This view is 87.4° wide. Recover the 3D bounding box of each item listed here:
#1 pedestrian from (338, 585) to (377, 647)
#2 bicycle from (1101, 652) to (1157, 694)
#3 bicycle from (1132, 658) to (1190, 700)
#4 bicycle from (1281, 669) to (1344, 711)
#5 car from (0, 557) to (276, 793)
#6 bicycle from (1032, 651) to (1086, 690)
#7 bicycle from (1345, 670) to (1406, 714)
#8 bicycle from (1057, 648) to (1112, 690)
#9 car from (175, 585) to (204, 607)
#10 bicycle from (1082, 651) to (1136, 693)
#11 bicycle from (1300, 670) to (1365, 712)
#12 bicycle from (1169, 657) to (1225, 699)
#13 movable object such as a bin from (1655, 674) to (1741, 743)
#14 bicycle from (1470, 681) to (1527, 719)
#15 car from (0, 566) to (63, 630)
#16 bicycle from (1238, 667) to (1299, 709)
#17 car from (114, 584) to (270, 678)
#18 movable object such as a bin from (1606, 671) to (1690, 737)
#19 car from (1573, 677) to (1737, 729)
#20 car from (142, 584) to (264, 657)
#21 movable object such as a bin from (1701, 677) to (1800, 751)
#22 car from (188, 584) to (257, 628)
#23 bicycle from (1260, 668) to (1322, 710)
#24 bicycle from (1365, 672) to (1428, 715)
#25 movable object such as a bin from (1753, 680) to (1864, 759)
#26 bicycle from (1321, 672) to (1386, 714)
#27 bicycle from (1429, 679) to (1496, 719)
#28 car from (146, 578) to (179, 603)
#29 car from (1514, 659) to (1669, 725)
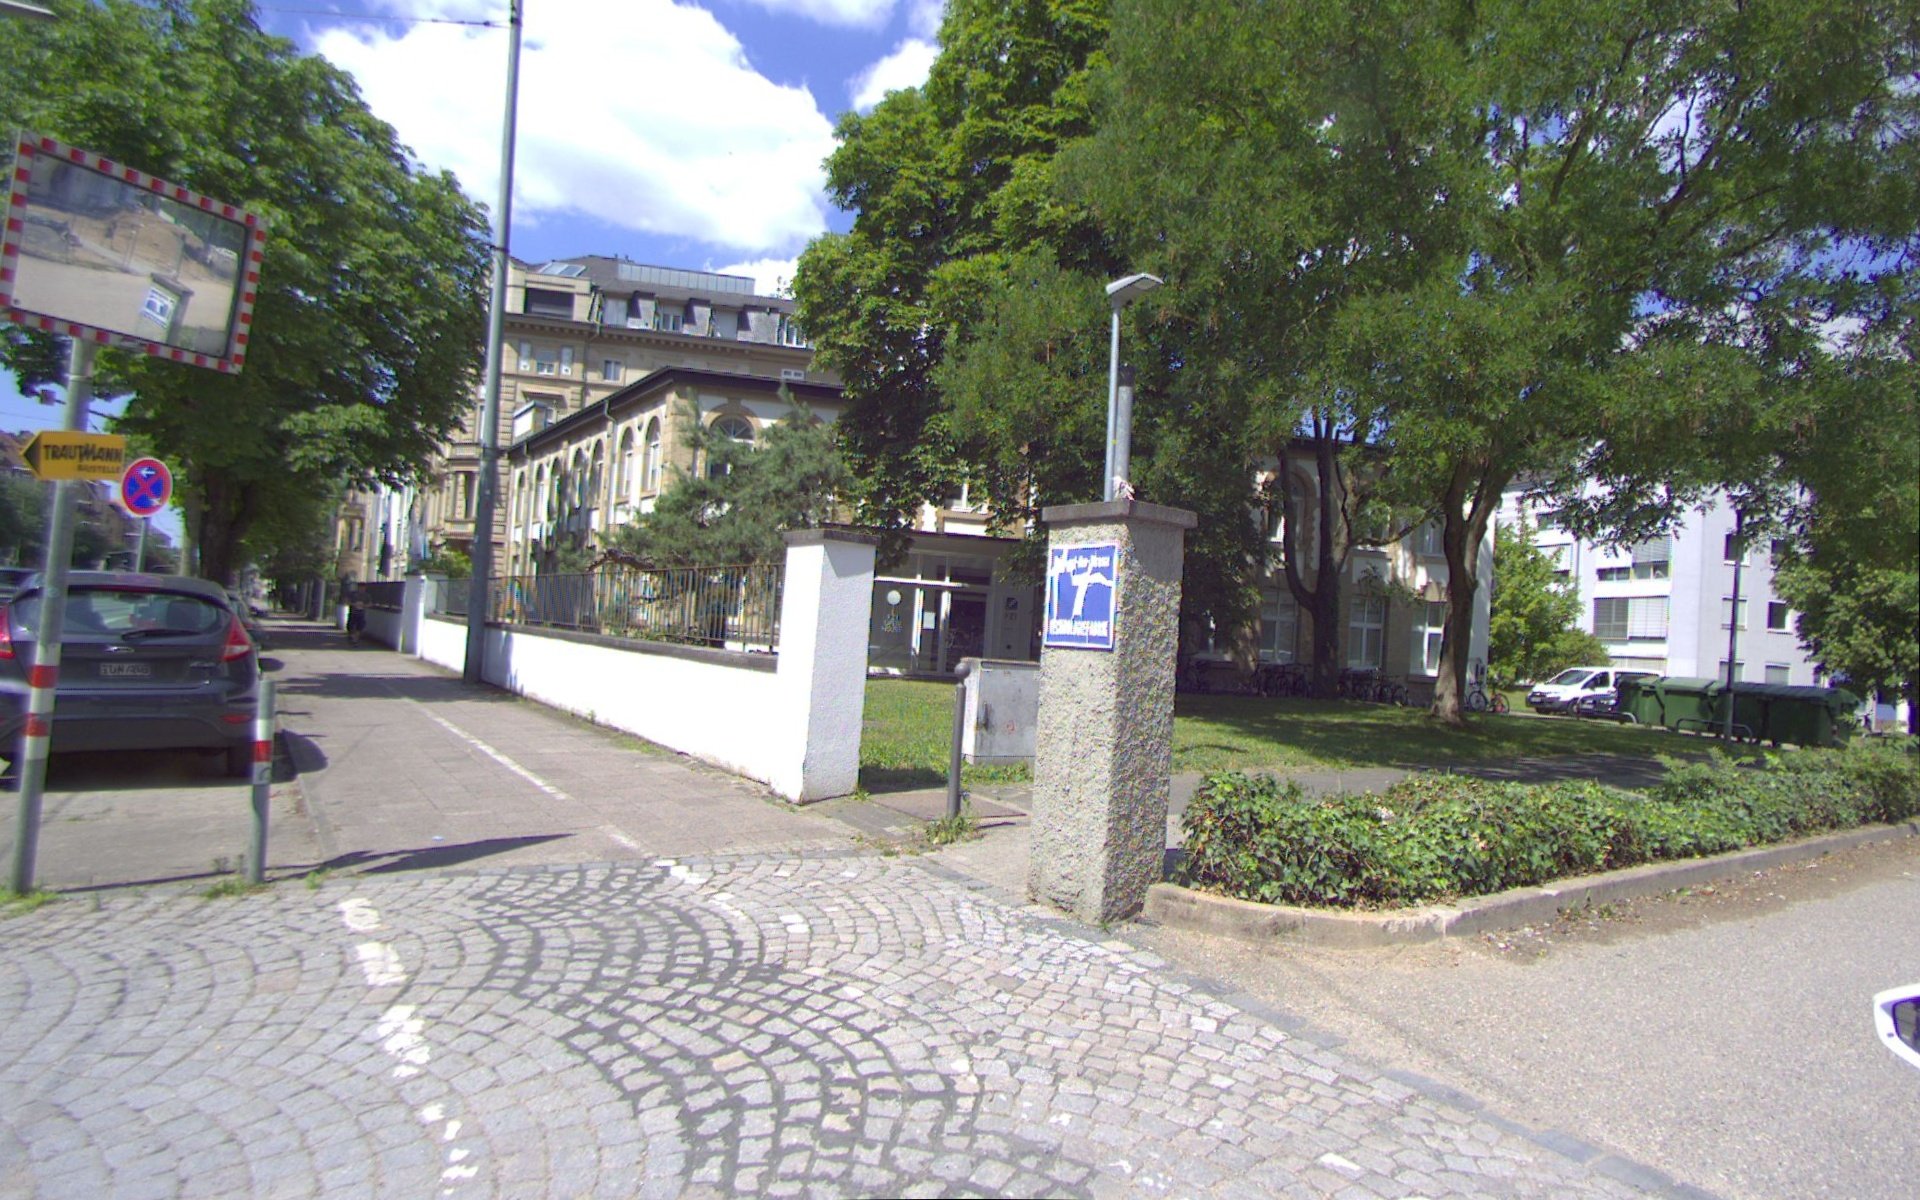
[{"bbox_3d":[-15.966,0.412,26.612,0.691,1.588,0.736,5,-2,-38],"label":"pedestrian"},{"bbox_3d":[4.711,2.021,28.123,0.597,1.024,2.252,4,-2,-16],"label":"bicycle"},{"bbox_3d":[5.628,2.203,28.239,0.597,1.024,2.252,4,-2,-16],"label":"bicycle"},{"bbox_3d":[10.115,2.568,28.911,0.597,1.024,2.255,4,-2,-11],"label":"bicycle"},{"bbox_3d":[-6.678,0.478,8.099,1.576,1.476,3.683,2,-1,-39],"label":"car"},{"bbox_3d":[2.693,1.900,27.493,0.645,0.901,2.252,4,-2,-16],"label":"bicycle"},{"bbox_3d":[12.114,2.675,29.359,0.596,1.096,2.258,4,-2,-6],"label":"bicycle"},{"bbox_3d":[3.434,1.894,27.864,0.622,1.024,2.252,4,-2,-16],"label":"bicycle"},{"bbox_3d":[-67.109,-0.363,87.536,1.747,1.741,3.960,5,-3,-35],"label":"car"},{"bbox_3d":[4.109,1.974,27.878,0.561,1.024,2.252,4,-2,-16],"label":"bicycle"},{"bbox_3d":[10.752,2.618,29.071,0.597,1.024,2.255,4,-2,-11],"label":"bicycle"},{"bbox_3d":[6.659,2.185,28.336,0.597,1.024,2.255,4,-2,-11],"label":"bicycle"},{"bbox_3d":[17.614,2.576,24.009,1.028,1.498,1.260,4,-2,-8],"label":"movable object such as a bin"},{"bbox_3d":[16.054,2.960,29.993,0.602,0.971,1.728,4,-2,-6],"label":"bicycle"},{"bbox_3d":[-27.101,-0.079,28.763,1.592,1.673,3.959,6,-4,-36],"label":"car"},{"bbox_3d":[8.757,2.486,28.643,0.597,1.024,2.255,4,-2,-11],"label":"bicycle"},{"bbox_3d":[-13.617,0.518,18.038,1.865,1.437,4.112,4,-2,-34],"label":"car"},{"bbox_3d":[17.437,2.614,25.489,1.028,1.498,1.408,4,-2,-8],"label":"movable object such as a bin"},{"bbox_3d":[23.628,3.496,34.198,4.543,1.370,1.831,4,-2,-8],"label":"car"},{"bbox_3d":[-17.372,0.453,23.227,1.933,1.462,3.738,4,-2,-34],"label":"car"},{"bbox_3d":[17.774,2.539,22.608,1.080,1.498,1.355,4,-2,-19],"label":"movable object such as a bin"},{"bbox_3d":[-30.207,0.232,41.227,1.709,1.635,3.969,4,-2,-29],"label":"car"},{"bbox_3d":[9.480,2.529,28.829,0.597,1.024,2.255,4,-2,-11],"label":"bicycle"},{"bbox_3d":[12.743,2.713,29.410,0.596,1.096,2.258,4,-2,-6],"label":"bicycle"},{"bbox_3d":[17.959,2.507,21.287,1.187,1.498,1.322,4,-2,-11],"label":"movable object such as a bin"},{"bbox_3d":[11.389,2.666,29.168,0.597,1.024,2.255,4,-2,-11],"label":"bicycle"},{"bbox_3d":[14.821,2.908,29.677,0.596,0.971,2.258,4,-2,-6],"label":"bicycle"},{"bbox_3d":[-61.118,-0.711,77.028,1.662,1.741,3.960,5,-3,-35],"label":"car"},{"bbox_3d":[23.471,3.401,37.415,4.689,2.039,1.998,4,-3,-8],"label":"car"}]
